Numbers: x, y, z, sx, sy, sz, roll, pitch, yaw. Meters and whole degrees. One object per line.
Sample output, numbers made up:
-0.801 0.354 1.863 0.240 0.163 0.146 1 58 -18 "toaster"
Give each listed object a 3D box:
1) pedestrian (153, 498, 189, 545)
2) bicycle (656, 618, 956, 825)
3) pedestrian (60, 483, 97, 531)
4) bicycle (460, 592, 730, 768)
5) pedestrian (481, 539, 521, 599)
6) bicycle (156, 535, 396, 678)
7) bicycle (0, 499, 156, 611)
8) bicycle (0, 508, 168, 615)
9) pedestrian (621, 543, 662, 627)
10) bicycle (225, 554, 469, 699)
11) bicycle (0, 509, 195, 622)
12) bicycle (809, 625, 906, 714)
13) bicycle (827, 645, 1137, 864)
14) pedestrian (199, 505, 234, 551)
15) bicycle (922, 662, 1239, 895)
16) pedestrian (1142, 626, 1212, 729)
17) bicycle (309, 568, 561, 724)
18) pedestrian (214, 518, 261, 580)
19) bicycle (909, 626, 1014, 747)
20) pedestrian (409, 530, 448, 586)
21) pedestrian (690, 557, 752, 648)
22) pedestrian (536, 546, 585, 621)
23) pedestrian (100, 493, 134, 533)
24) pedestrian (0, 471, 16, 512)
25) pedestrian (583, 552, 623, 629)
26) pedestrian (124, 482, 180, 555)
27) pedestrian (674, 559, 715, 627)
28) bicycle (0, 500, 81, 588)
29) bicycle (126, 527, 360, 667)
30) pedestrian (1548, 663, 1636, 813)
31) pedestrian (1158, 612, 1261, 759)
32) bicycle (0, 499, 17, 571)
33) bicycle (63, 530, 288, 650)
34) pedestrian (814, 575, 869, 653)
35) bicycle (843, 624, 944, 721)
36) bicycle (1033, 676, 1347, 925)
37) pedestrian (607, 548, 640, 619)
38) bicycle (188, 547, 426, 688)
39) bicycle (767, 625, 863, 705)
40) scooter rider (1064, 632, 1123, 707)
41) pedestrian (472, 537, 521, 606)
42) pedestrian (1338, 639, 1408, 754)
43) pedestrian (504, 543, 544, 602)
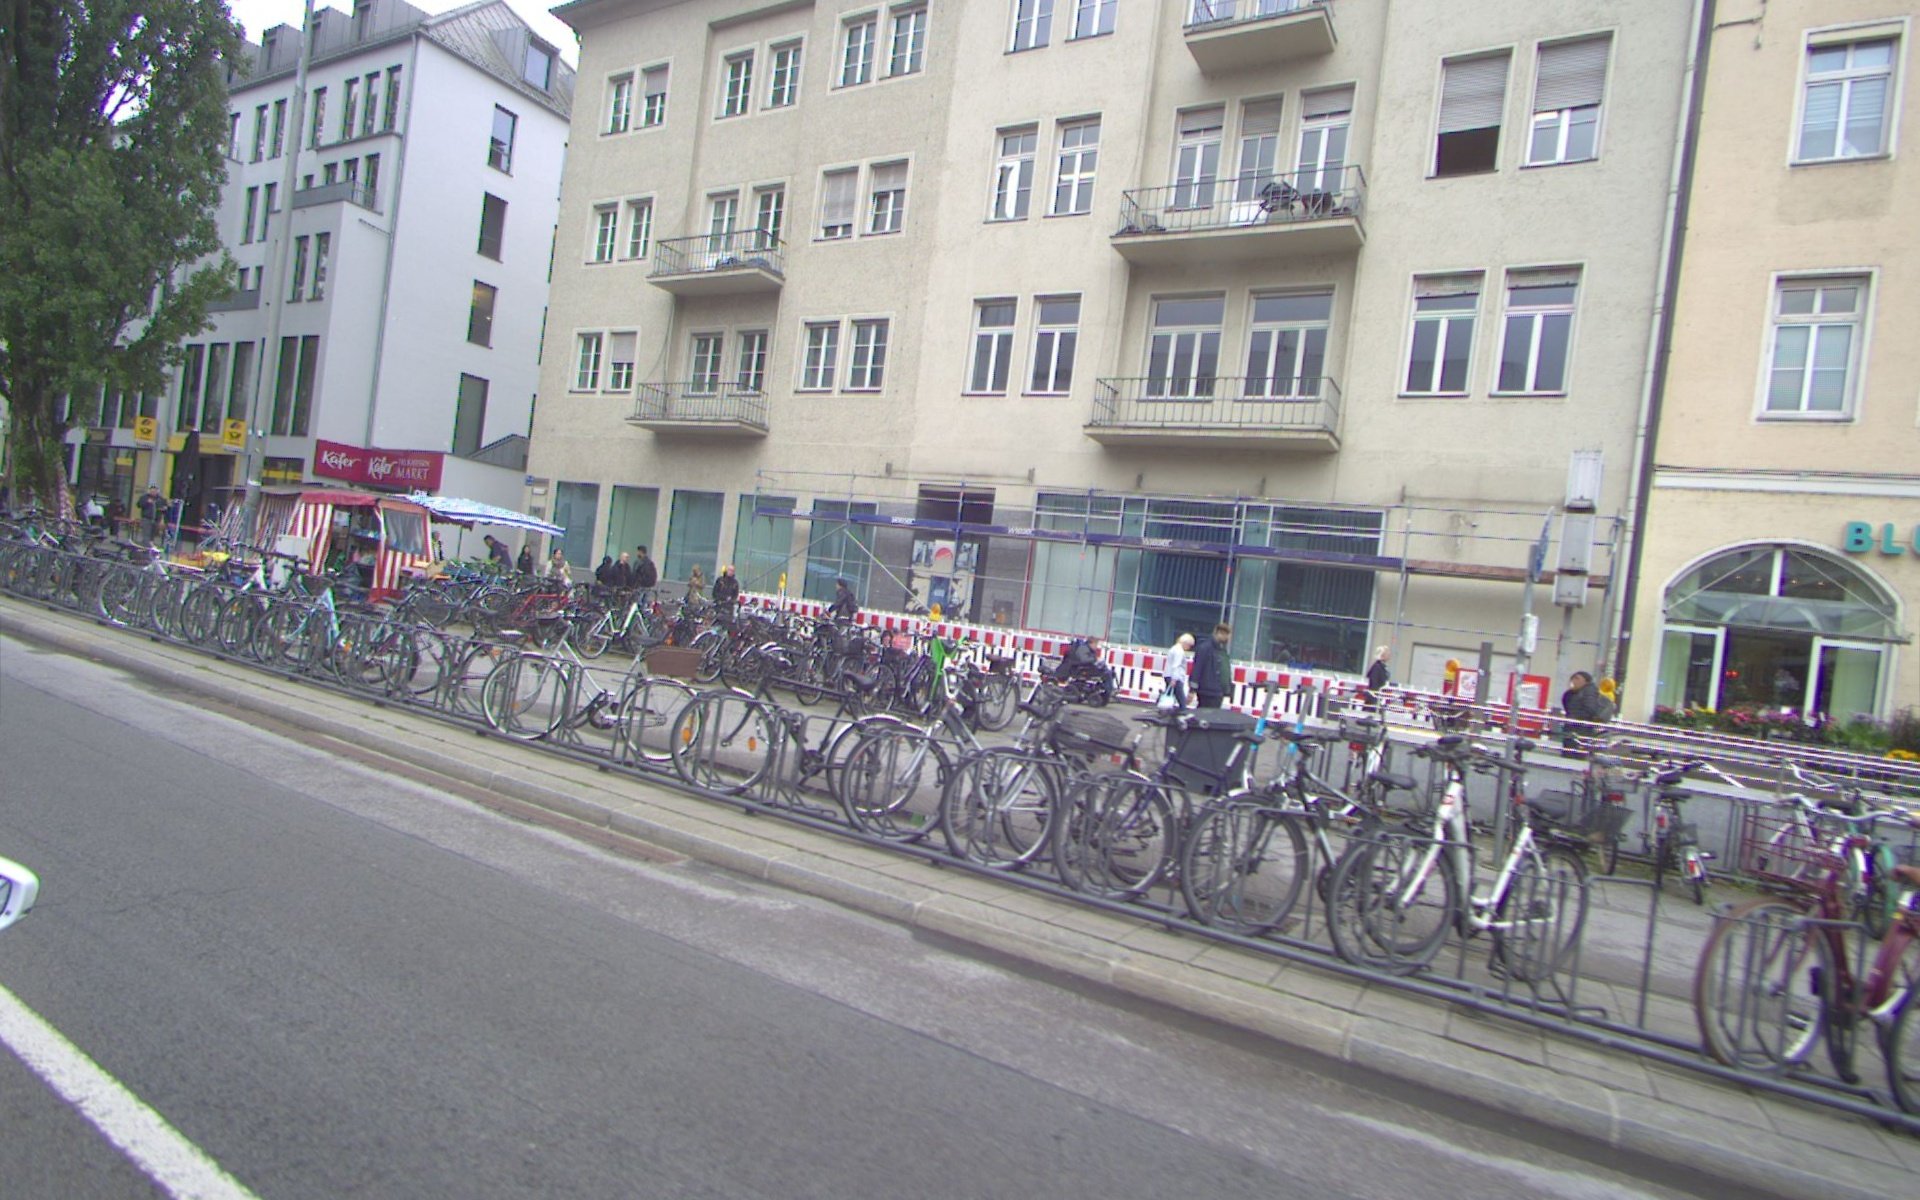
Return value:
-28.661 -2.854 36.546 0.665 1.578 0.714 8 1 31 "pedestrian"
-1.035 0.828 6.798 1.781 1.172 0.648 8 0 -23 "bicycle"
-31.946 -3.368 36.449 0.665 1.578 0.714 8 1 31 "pedestrian"
-2.792 0.626 7.791 1.781 1.125 0.649 8 0 -22 "bicycle"
-11.707 -0.787 25.661 0.570 1.420 0.599 8 1 31 "pedestrian"
-6.862 0.079 10.184 1.810 1.182 0.584 8 0 -17 "bicycle"
-12.091 -0.610 13.528 1.810 1.256 0.584 8 1 -17 "bicycle"
-11.589 -0.497 13.108 1.810 1.150 0.584 8 0 -17 "bicycle"
-6.829 -0.328 21.529 0.594 1.690 0.682 7 1 -23 "pedestrian"
-5.741 0.253 9.533 1.778 1.125 0.584 8 0 -17 "bicycle"
-10.945 -0.423 12.732 1.810 1.150 0.584 8 0 -17 "bicycle"
-1.257 0.875 12.518 0.363 1.012 1.316 8 0 32 "bicycle"
0.168 0.973 6.184 1.785 1.172 0.483 8 0 -29 "bicycle"
-27.461 -2.654 37.153 0.665 1.578 0.714 8 1 31 "pedestrian"
0.742 1.050 5.898 1.785 1.172 0.483 8 0 -30 "bicycle"
3.523 1.241 16.318 0.745 1.537 0.778 8 2 30 "pedestrian"
-4.539 0.406 8.826 1.778 1.125 0.560 8 0 -17 "bicycle"
-20.489 -1.453 28.542 0.729 1.622 0.733 8 1 31 "pedestrian"
-0.015 0.953 11.604 0.365 1.155 1.712 7 0 -26 "bicycle"
-14.469 -1.134 27.386 0.570 1.420 0.599 8 1 31 "pedestrian"
-4.856 0.064 20.479 0.746 1.750 0.743 8 2 31 "pedestrian"
-8.843 -0.376 22.247 0.801 1.541 0.795 7 1 -25 "pedestrian"
-30.386 -3.131 36.257 0.665 1.322 0.639 8 1 31 "pedestrian"
-38.882 -4.423 40.684 0.665 1.614 0.765 8 1 31 "pedestrian"
-7.508 -0.200 21.160 0.574 1.523 0.612 7 1 -27 "pedestrian"
-21.050 -2.113 26.200 0.751 1.749 0.791 8 1 31 "pedestrian"
-6.858 -0.181 26.004 0.553 1.665 0.641 8 1 31 "pedestrian"
-14.050 -0.880 14.552 1.814 1.150 0.583 8 0 -23 "bicycle"
-7.496 -0.018 10.609 1.810 1.212 0.584 8 0 -17 "bicycle"
7.779 1.673 12.402 0.710 1.692 0.657 8 2 33 "pedestrian"
3.216 1.097 13.012 0.804 1.750 0.754 6 2 -22 "pedestrian"
-16.319 -1.165 15.957 1.814 1.150 0.583 8 0 -23 "bicycle"
-8.721 -0.103 11.258 1.810 1.065 0.584 8 0 -17 "bicycle"
-2.590 0.303 22.030 0.774 1.588 0.649 8 1 32 "pedestrian"
-0.789 0.893 12.329 0.363 1.090 1.419 8 0 32 "bicycle"
1.329 1.104 5.617 1.787 1.172 0.482 8 0 -33 "bicycle"
-7.463 -0.364 22.298 0.501 1.502 0.462 7 1 -23 "pedestrian"
-6.323 0.177 9.827 1.778 1.125 0.489 8 1 -17 "bicycle"
-1.830 0.840 12.817 0.363 0.926 1.294 8 0 32 "bicycle"
2.424 1.248 18.240 0.707 1.235 0.686 8 2 30 "scooter rider"
-10.378 -0.638 22.523 0.648 1.443 0.616 8 1 36 "pedestrian"
6.514 1.501 15.871 0.745 1.672 0.751 8 2 30 "pedestrian"
-11.355 -0.712 26.206 0.570 1.420 0.575 8 1 31 "pedestrian"
